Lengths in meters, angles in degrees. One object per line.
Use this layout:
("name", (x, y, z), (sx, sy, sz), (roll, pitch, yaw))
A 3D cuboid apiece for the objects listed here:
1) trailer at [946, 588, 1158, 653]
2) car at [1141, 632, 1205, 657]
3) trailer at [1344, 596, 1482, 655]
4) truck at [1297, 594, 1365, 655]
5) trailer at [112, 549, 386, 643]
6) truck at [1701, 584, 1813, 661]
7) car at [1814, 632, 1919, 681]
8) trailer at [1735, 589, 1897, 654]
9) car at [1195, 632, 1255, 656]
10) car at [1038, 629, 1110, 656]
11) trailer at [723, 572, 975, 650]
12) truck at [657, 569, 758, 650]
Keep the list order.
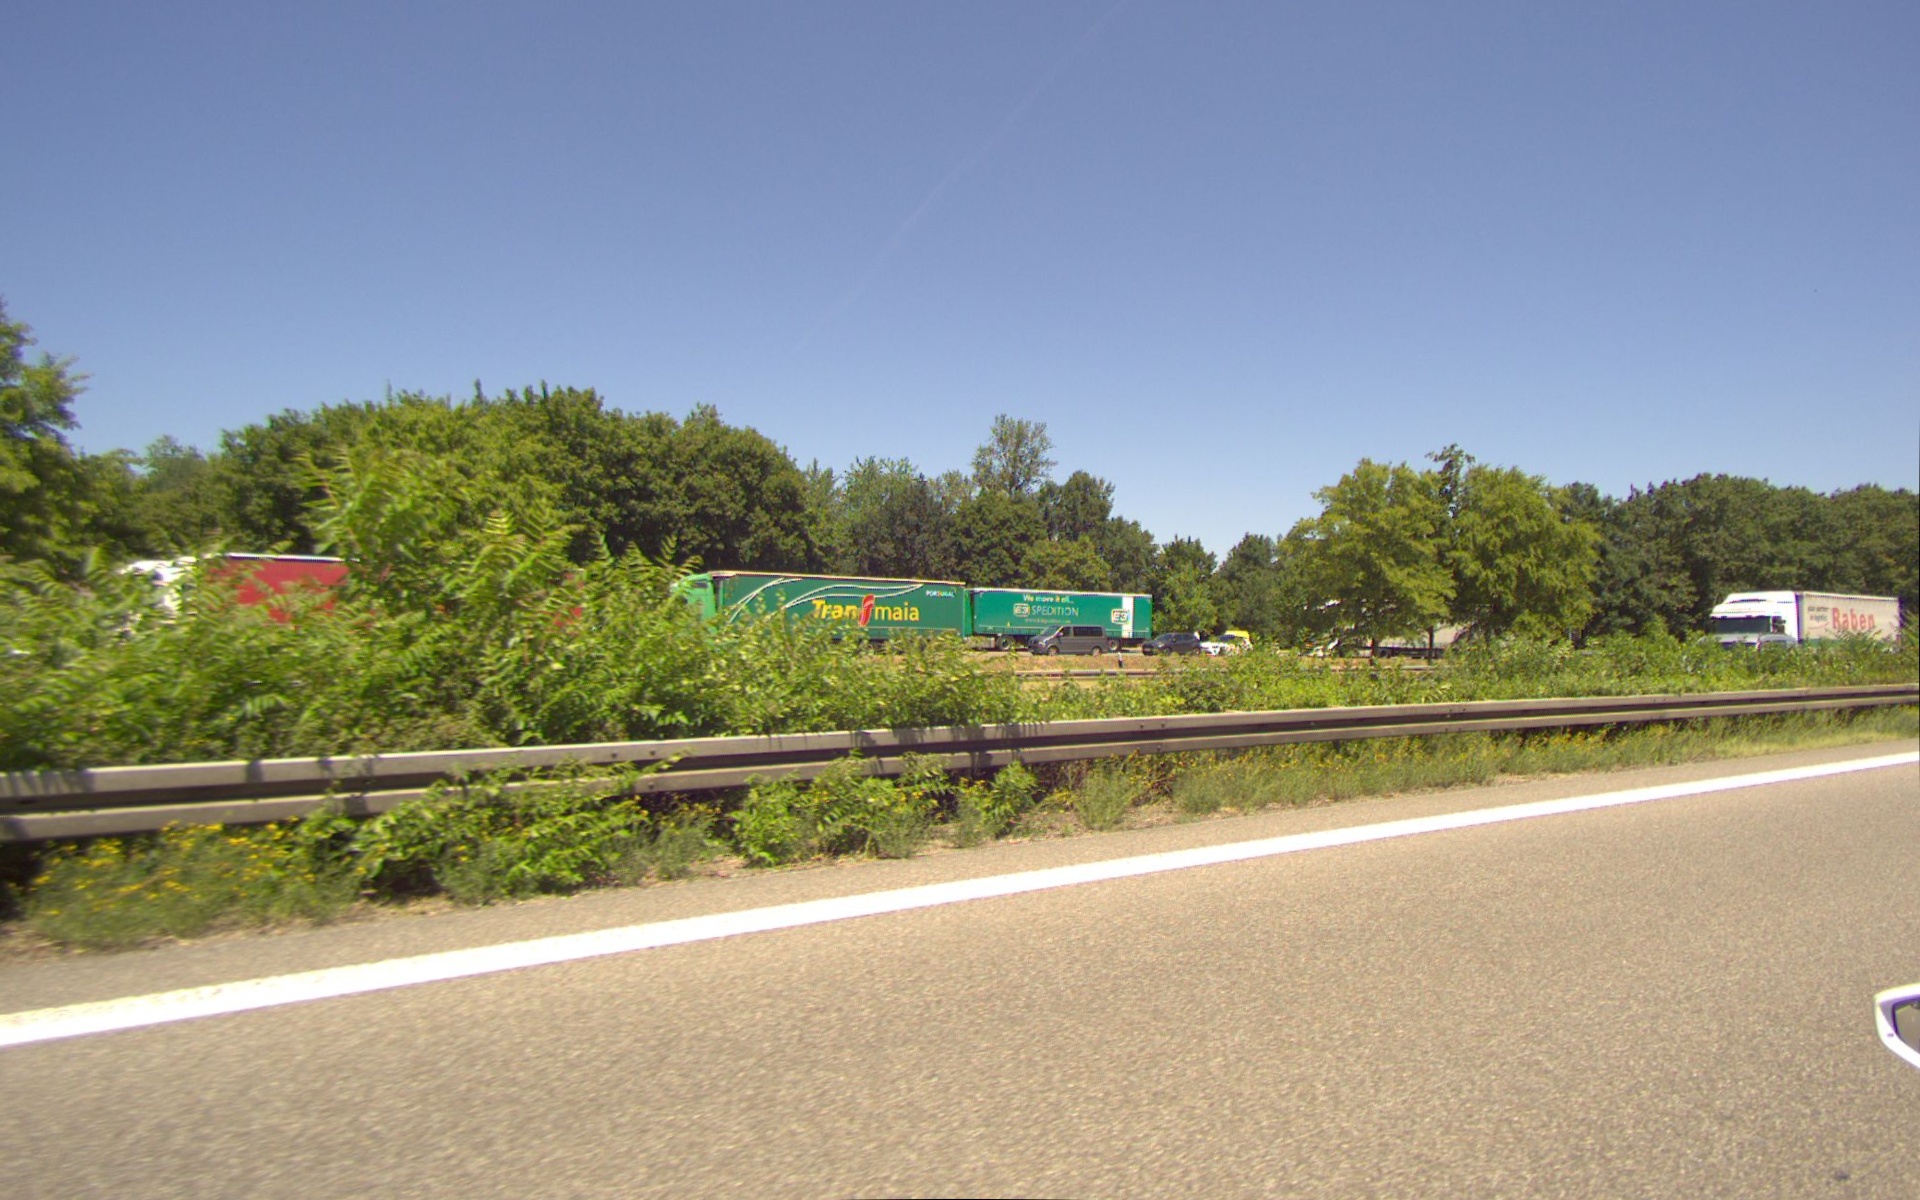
("trailer", (6.373, 1.473, 67.785), (14.704, 4.047, 2.957), (1, -1, -25))
("car", (12.994, 2.707, 61.267), (3.686, 1.448, 1.550), (2, -1, -27))
("trailer", (31.320, 1.816, 69.245), (10.559, 3.921, 2.284), (1, -1, -25))
("truck", (24.443, 1.639, 66.208), (3.749, 3.921, 2.249), (1, -1, -24))
("trailer", (-27.179, -0.054, 38.966), (8.428, 3.353, 2.076), (1, 0, -33))
("truck", (34.860, 1.000, 43.946), (4.215, 3.186, 2.560), (2, -1, -31))
("car", (28.174, 1.722, 30.951), (3.655, 1.377, 1.718), (1, 0, -30))
("trailer", (40.482, 1.065, 47.338), (10.825, 2.816, 2.548), (2, -1, -31))
("car", (17.038, 2.821, 64.526), (3.686, 1.448, 1.467), (2, -1, -27))
("car", (6.486, 2.403, 56.987), (3.948, 1.448, 1.467), (2, -1, -27))
("trailer", (-5.518, 0.720, 52.776), (13.430, 3.778, 1.985), (2, -1, -29))
("truck", (-12.300, 0.488, 48.987), (4.400, 3.795, 1.985), (1, -1, -29))
